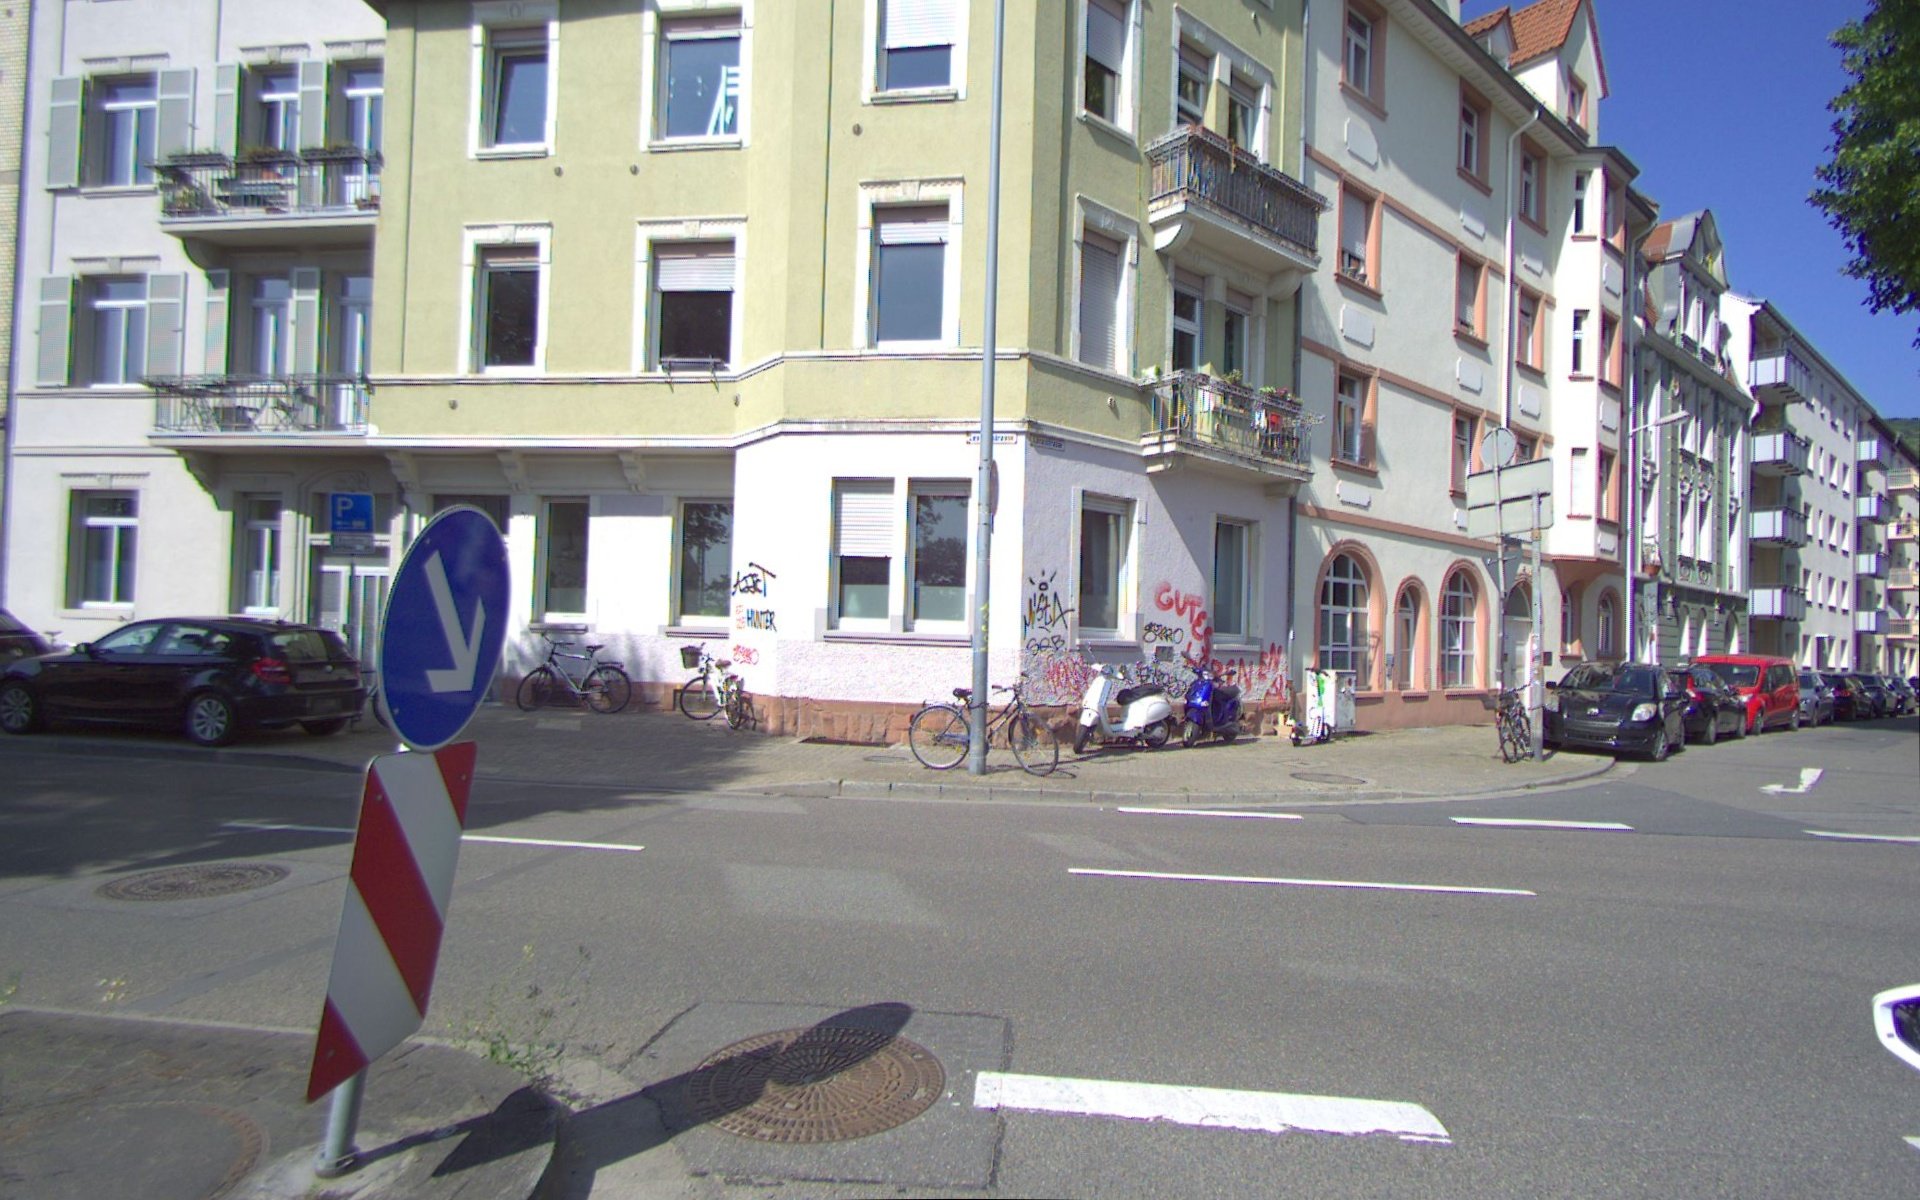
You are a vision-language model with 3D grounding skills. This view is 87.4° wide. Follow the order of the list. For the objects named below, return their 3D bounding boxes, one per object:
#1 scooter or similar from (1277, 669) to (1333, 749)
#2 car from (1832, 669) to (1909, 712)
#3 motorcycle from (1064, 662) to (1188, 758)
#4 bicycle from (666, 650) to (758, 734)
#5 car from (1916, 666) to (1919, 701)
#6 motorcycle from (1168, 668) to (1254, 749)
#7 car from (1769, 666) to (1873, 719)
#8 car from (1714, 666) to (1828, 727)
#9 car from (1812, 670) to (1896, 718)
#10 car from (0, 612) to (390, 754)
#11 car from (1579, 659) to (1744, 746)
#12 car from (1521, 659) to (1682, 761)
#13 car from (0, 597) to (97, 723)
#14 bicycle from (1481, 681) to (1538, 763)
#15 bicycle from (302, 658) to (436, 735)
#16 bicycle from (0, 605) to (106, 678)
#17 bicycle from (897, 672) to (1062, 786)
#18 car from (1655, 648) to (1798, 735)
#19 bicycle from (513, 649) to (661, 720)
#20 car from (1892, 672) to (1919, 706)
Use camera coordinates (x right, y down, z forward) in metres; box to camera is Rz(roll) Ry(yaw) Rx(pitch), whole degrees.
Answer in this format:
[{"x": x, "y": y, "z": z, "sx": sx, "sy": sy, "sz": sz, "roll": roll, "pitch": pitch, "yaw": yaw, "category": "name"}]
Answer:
[{"x": 5.325, "y": 1.651, "z": 15.462, "sx": 0.270, "sy": 1.142, "sz": 1.441, "roll": 2, "pitch": -1, "yaw": 40, "category": "scooter or similar"}, {"x": 35.066, "y": 3.439, "z": 38.666, "sx": 3.971, "sy": 1.505, "sz": 1.846, "roll": 4, "pitch": -3, "yaw": -42, "category": "car"}, {"x": 2.225, "y": 1.429, "z": 13.349, "sx": 1.746, "sy": 1.165, "sz": 0.469, "roll": 2, "pitch": 0, "yaw": -33, "category": "motorcycle"}, {"x": -3.520, "y": 1.262, "z": 14.147, "sx": 0.534, "sy": 1.060, "sz": 1.807, "roll": 2, "pitch": -2, "yaw": -38, "category": "bicycle"}, {"x": 50.601, "y": 4.330, "z": 51.654, "sx": 3.835, "sy": 1.744, "sz": 1.846, "roll": 4, "pitch": -3, "yaw": -42, "category": "car"}, {"x": 3.680, "y": 1.570, "z": 14.695, "sx": 1.438, "sy": 1.108, "sz": 0.424, "roll": 4, "pitch": -1, "yaw": -40, "category": "motorcycle"}, {"x": 27.677, "y": 2.930, "z": 32.243, "sx": 3.966, "sy": 1.505, "sz": 1.848, "roll": 4, "pitch": -3, "yaw": -39, "category": "car"}, {"x": 22.432, "y": 2.608, "z": 27.728, "sx": 3.970, "sy": 1.505, "sz": 1.846, "roll": 4, "pitch": -3, "yaw": -42, "category": "car"}, {"x": 31.507, "y": 3.256, "z": 35.369, "sx": 3.971, "sy": 1.505, "sz": 1.846, "roll": 4, "pitch": -3, "yaw": -42, "category": "car"}, {"x": -9.278, "y": 0.916, "z": 12.029, "sx": 3.998, "sy": 1.435, "sz": 1.747, "roll": 1, "pitch": -1, "yaw": 8, "category": "car"}, {"x": 14.475, "y": 2.034, "z": 20.668, "sx": 4.034, "sy": 1.563, "sz": 1.964, "roll": 4, "pitch": -3, "yaw": -42, "category": "car"}, {"x": 11.015, "y": 1.783, "z": 17.148, "sx": 1.800, "sy": 1.466, "sz": 3.750, "roll": 0, "pitch": -3, "yaw": 41, "category": "car"}, {"x": -13.582, "y": 0.699, "z": 12.851, "sx": 3.928, "sy": 1.521, "sz": 1.648, "roll": 1, "pitch": -1, "yaw": 8, "category": "car"}, {"x": 8.109, "y": 1.756, "z": 14.795, "sx": 0.615, "sy": 1.047, "sz": 1.878, "roll": 1, "pitch": -2, "yaw": 32, "category": "bicycle"}, {"x": -7.756, "y": 1.256, "z": 13.190, "sx": 1.549, "sy": 0.904, "sz": 0.449, "roll": 2, "pitch": 2, "yaw": 6, "category": "bicycle"}, {"x": -15.435, "y": 0.684, "z": 16.931, "sx": 1.593, "sy": 1.161, "sz": 0.657, "roll": 2, "pitch": 0, "yaw": 7, "category": "bicycle"}, {"x": 0.224, "y": 1.365, "z": 10.799, "sx": 1.699, "sy": 1.102, "sz": 0.579, "roll": 2, "pitch": -2, "yaw": 5, "category": "bicycle"}, {"x": 18.397, "y": 2.136, "z": 24.051, "sx": 4.191, "sy": 1.865, "sz": 1.851, "roll": 3, "pitch": -3, "yaw": -40, "category": "car"}, {"x": -5.743, "y": 1.285, "z": 15.499, "sx": 2.071, "sy": 0.958, "sz": 0.610, "roll": 2, "pitch": 0, "yaw": 7, "category": "bicycle"}, {"x": 45.305, "y": 4.200, "z": 47.232, "sx": 3.835, "sy": 1.505, "sz": 1.846, "roll": 4, "pitch": -3, "yaw": -42, "category": "car"}]
